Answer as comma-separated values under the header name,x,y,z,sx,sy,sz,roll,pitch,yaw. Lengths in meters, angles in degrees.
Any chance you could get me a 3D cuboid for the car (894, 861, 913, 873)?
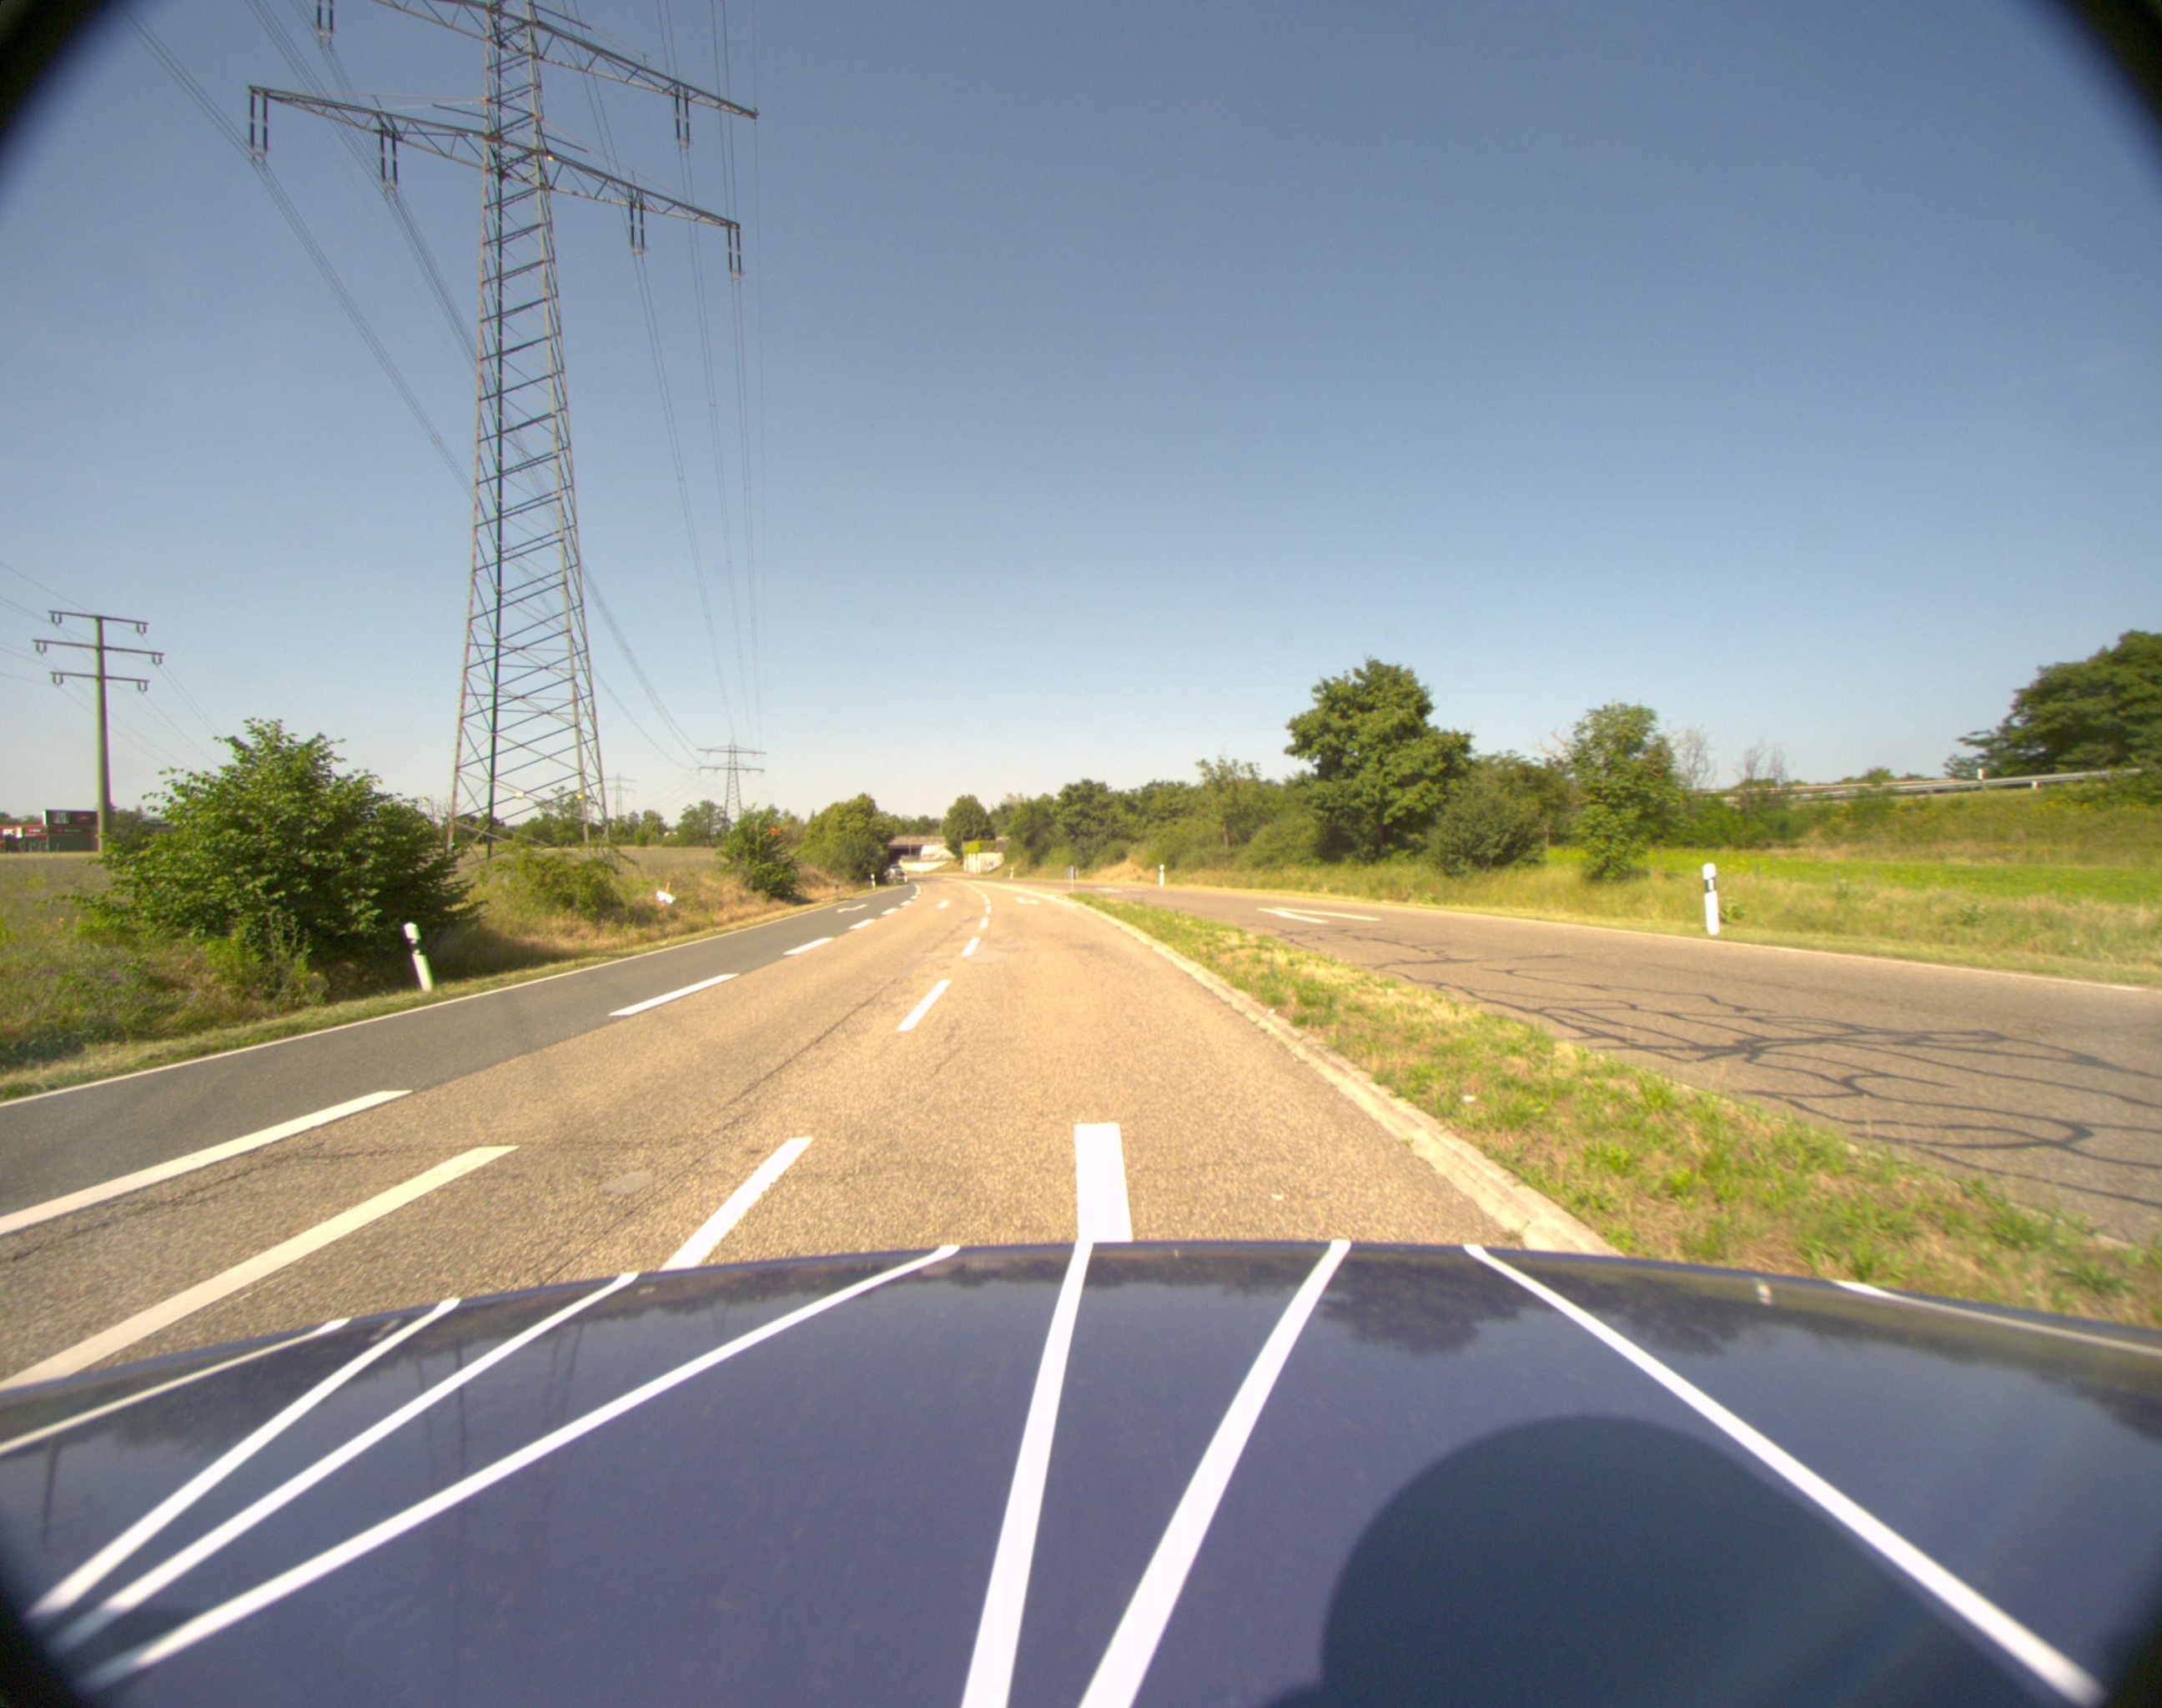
name,x,y,z,sx,sy,sz,roll,pitch,yaw
car,-24.946,1.885,106.762,1.863,1.609,3.640,-2,0,-24
